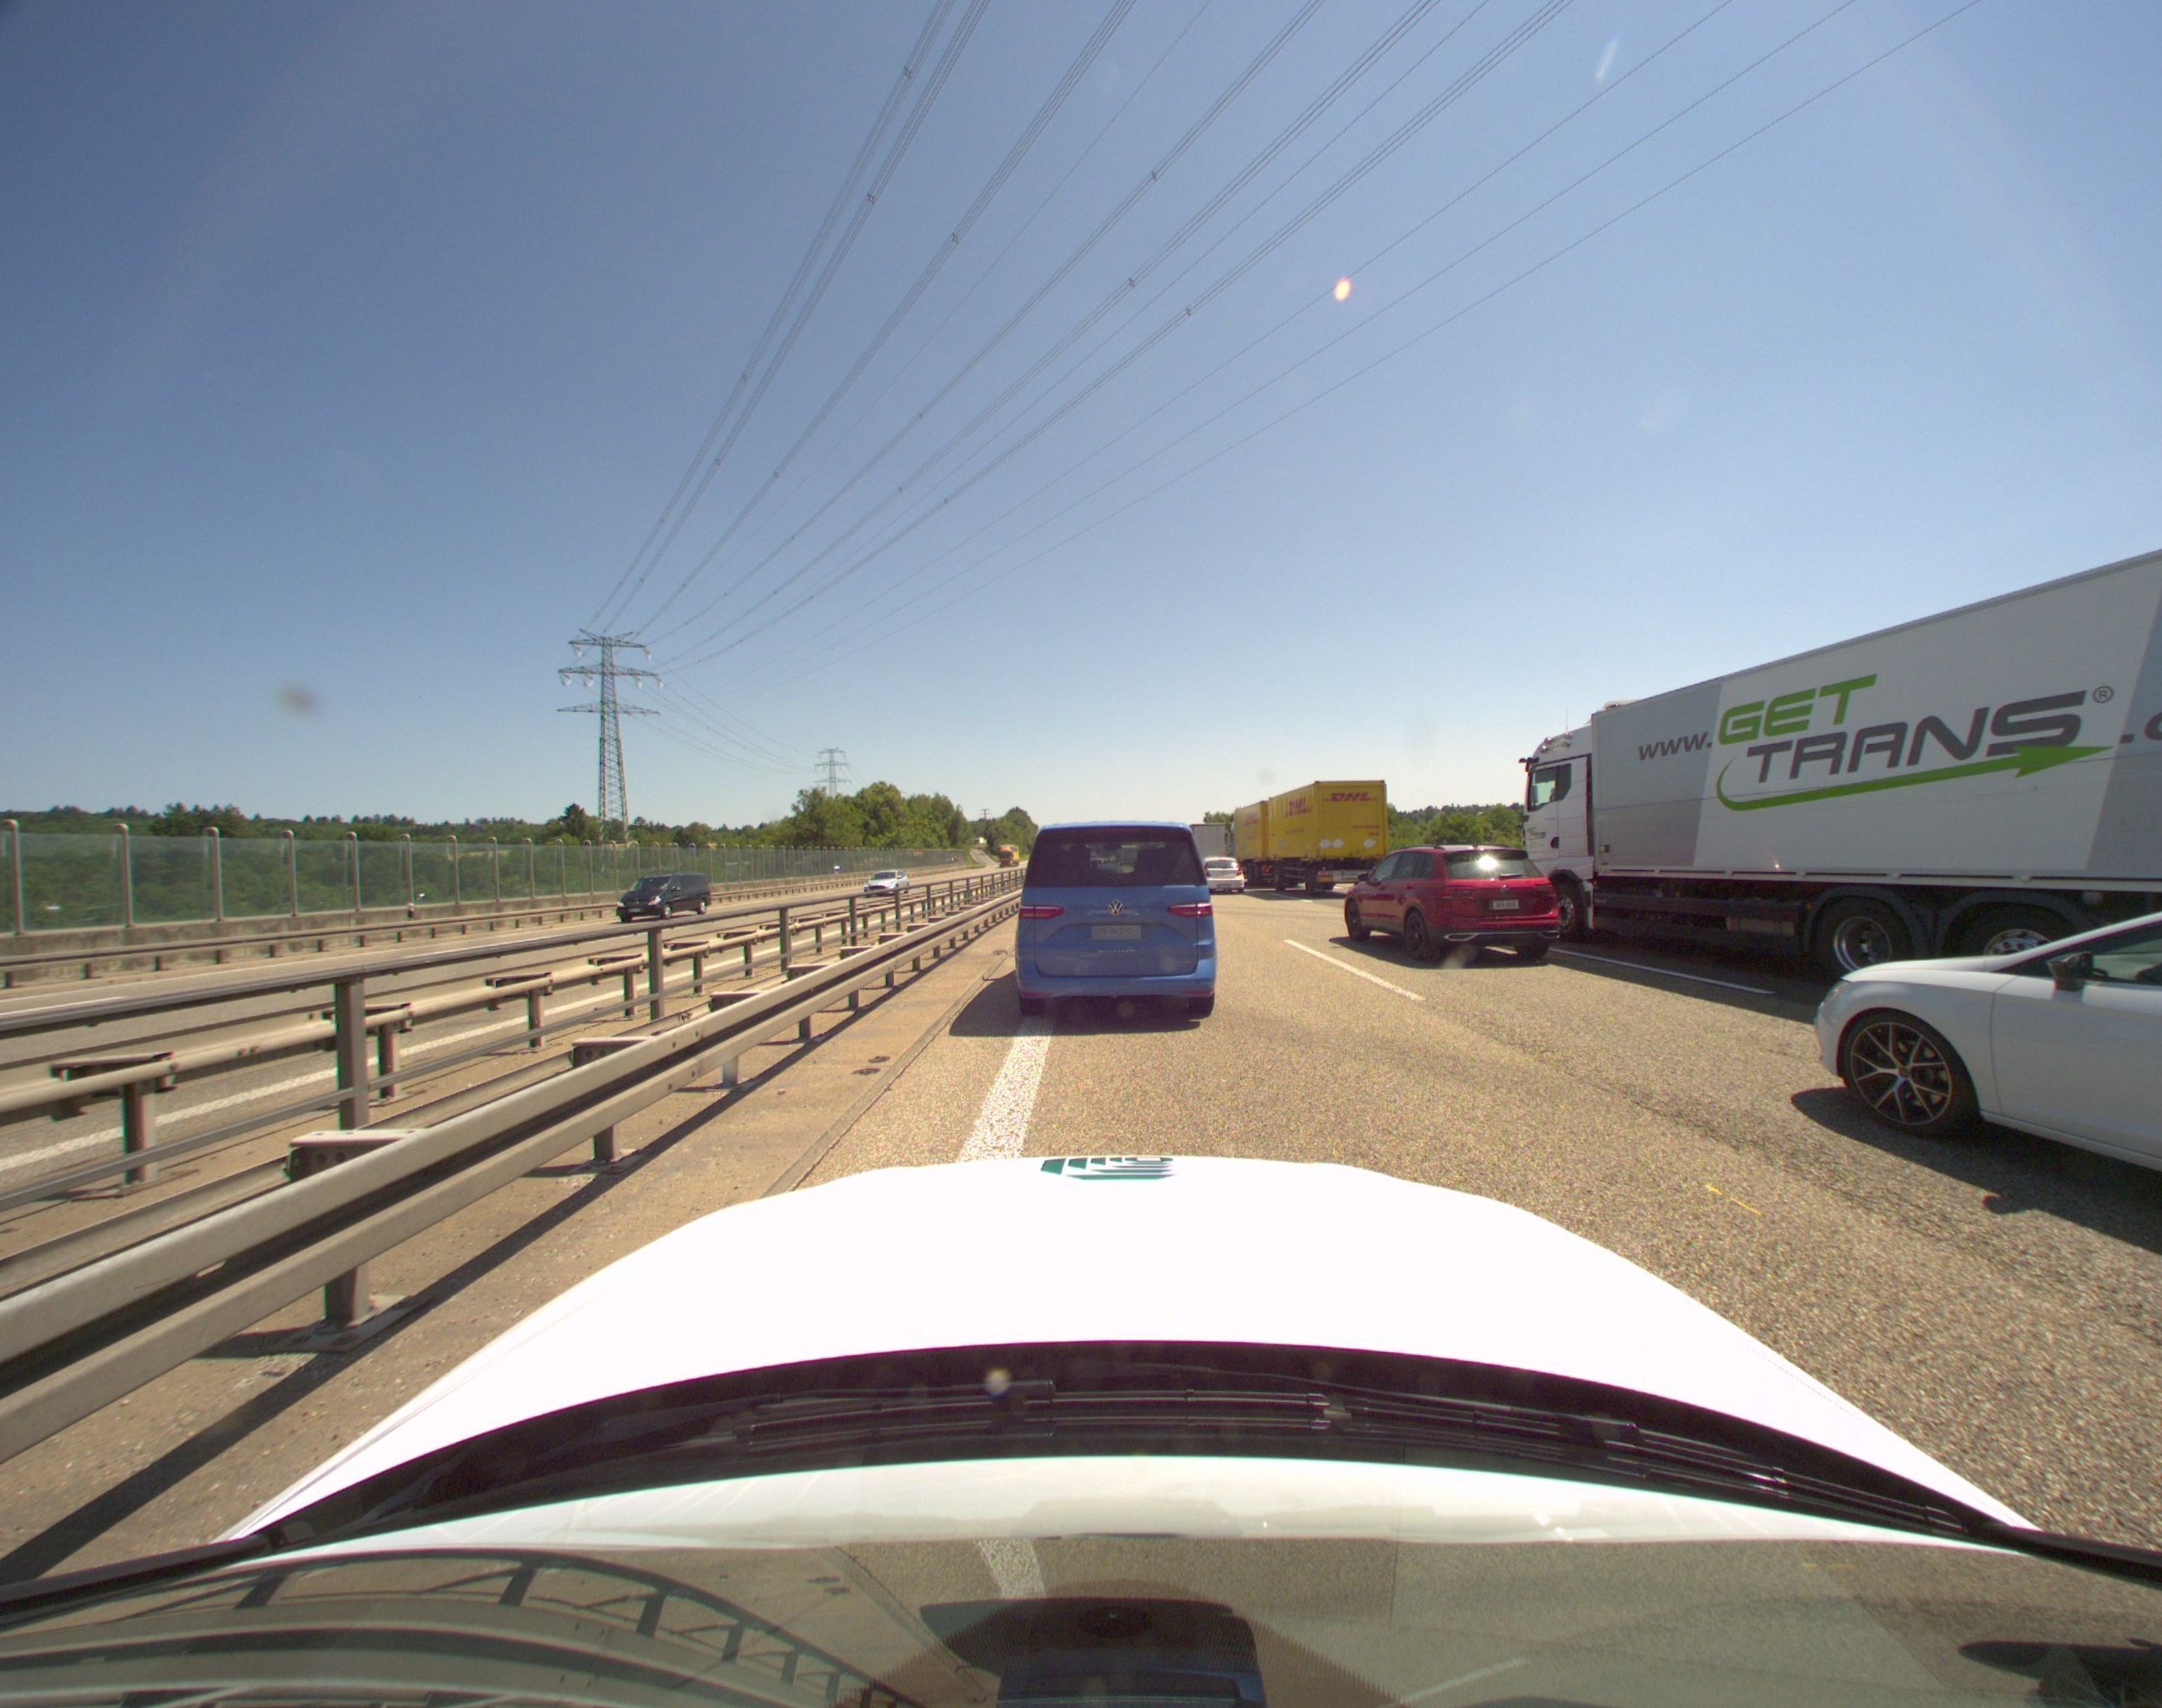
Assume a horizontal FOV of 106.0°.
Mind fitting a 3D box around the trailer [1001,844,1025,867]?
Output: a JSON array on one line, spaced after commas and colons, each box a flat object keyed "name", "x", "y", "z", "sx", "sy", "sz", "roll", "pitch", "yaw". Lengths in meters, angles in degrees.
[{"name": "trailer", "x": -13.176, "y": 0.398, "z": 158.014, "sx": 2.617, "sy": 4.114, "sz": 14.026, "roll": -2, "pitch": -1, "yaw": 3}]

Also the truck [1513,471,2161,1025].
[{"name": "truck", "x": 9.163, "y": -0.716, "z": 9.416, "sx": 2.842, "sy": 3.934, "sz": 10.610, "roll": 0, "pitch": -1, "yaw": 1}]

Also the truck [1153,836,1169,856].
[{"name": "truck", "x": 10.698, "y": -1.024, "z": 108.981, "sx": 1.790, "sy": 2.596, "sz": 4.306, "roll": 0, "pitch": -1, "yaw": 2}]

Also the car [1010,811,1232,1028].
[{"name": "car", "x": 0.391, "y": 0.595, "z": 9.121, "sx": 1.924, "sy": 1.874, "sz": 4.001, "roll": 0, "pitch": -1, "yaw": 1}]

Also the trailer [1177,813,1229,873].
[{"name": "trailer", "x": 10.005, "y": -0.767, "z": 68.088, "sx": 3.015, "sy": 4.611, "sz": 10.928, "roll": -1, "pitch": -1, "yaw": 2}]

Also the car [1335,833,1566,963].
[{"name": "car", "x": 5.523, "y": 0.615, "z": 12.826, "sx": 1.703, "sy": 1.679, "sz": 4.284, "roll": 1, "pitch": -1, "yaw": 0}]

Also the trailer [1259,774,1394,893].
[{"name": "trailer", "x": 9.436, "y": -0.644, "z": 32.604, "sx": 2.674, "sy": 4.088, "sz": 8.978, "roll": 0, "pitch": -1, "yaw": 0}]

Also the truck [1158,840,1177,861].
[{"name": "truck", "x": 10.061, "y": -0.367, "z": 95.190, "sx": 1.791, "sy": 2.449, "sz": 4.505, "roll": -1, "pitch": -1, "yaw": 2}]

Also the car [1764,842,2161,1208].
[{"name": "car", "x": 5.125, "y": 0.671, "z": 2.918, "sx": 1.702, "sy": 1.451, "sz": 4.429, "roll": 0, "pitch": 0, "yaw": 1}]

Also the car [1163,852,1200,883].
[{"name": "car", "x": 5.707, "y": 0.742, "z": 46.607, "sx": 1.808, "sy": 1.679, "sz": 3.934, "roll": -1, "pitch": -1, "yaw": 2}]

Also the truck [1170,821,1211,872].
[{"name": "truck", "x": 10.298, "y": -0.634, "z": 77.468, "sx": 3.015, "sy": 4.611, "sz": 7.923, "roll": -1, "pitch": -1, "yaw": 2}]

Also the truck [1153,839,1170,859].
[{"name": "truck", "x": 10.266, "y": -0.631, "z": 104.094, "sx": 1.735, "sy": 2.549, "sz": 4.211, "roll": 0, "pitch": -1, "yaw": 2}]

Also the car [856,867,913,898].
[{"name": "car", "x": -11.238, "y": 1.613, "z": 46.823, "sx": 1.986, "sy": 1.544, "sz": 4.387, "roll": -3, "pitch": -1, "yaw": 2}]

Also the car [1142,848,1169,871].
[{"name": "car", "x": 6.334, "y": 0.464, "z": 69.600, "sx": 1.955, "sy": 1.936, "sz": 3.933, "roll": 0, "pitch": -1, "yaw": 1}]

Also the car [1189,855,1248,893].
[{"name": "car", "x": 5.662, "y": 0.816, "z": 33.952, "sx": 1.809, "sy": 1.470, "sz": 3.932, "roll": 0, "pitch": -1, "yaw": 0}]

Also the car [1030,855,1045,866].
[{"name": "car", "x": -6.615, "y": 0.996, "z": 124.582, "sx": 1.755, "sy": 1.508, "sz": 4.225, "roll": -3, "pitch": 0, "yaw": 2}]

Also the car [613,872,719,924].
[{"name": "car", "x": -17.662, "y": 1.795, "z": 34.978, "sx": 1.951, "sy": 1.905, "sz": 4.949, "roll": -3, "pitch": -1, "yaw": 0}]

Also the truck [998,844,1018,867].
[{"name": "truck", "x": -13.535, "y": 0.272, "z": 151.589, "sx": 2.660, "sy": 4.185, "sz": 6.292, "roll": -2, "pitch": -1, "yaw": 3}]

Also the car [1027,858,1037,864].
[{"name": "car", "x": -10.737, "y": 1.551, "z": 179.074, "sx": 1.681, "sy": 1.303, "sz": 4.017, "roll": -4, "pitch": -1, "yaw": 4}]

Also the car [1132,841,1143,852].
[{"name": "car", "x": 11.043, "y": -1.428, "z": 159.853, "sx": 1.986, "sy": 2.014, "sz": 4.001, "roll": -1, "pitch": -1, "yaw": 1}]

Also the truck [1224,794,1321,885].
[{"name": "truck", "x": 9.564, "y": -0.601, "z": 42.008, "sx": 2.690, "sy": 4.088, "sz": 9.938, "roll": 0, "pitch": -1, "yaw": 0}]
